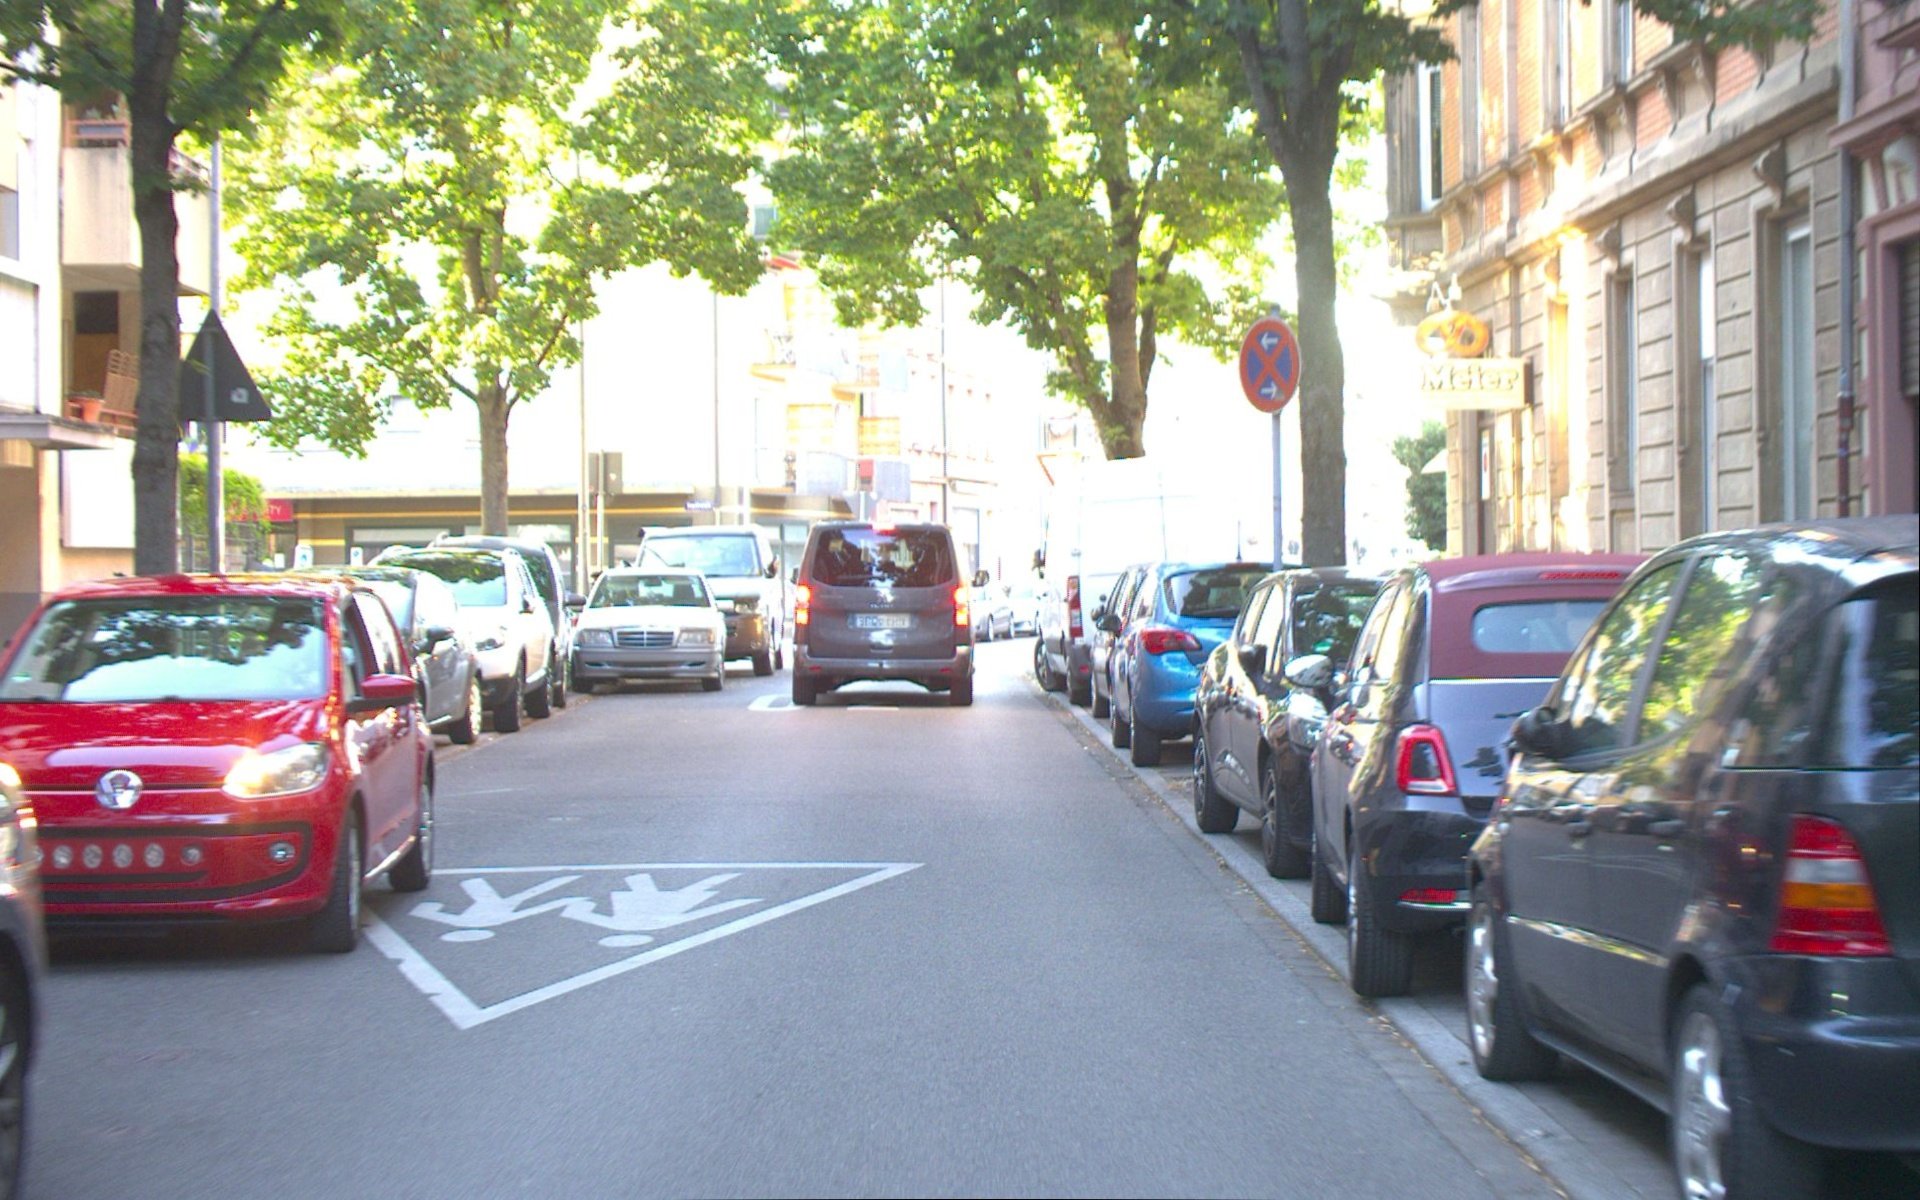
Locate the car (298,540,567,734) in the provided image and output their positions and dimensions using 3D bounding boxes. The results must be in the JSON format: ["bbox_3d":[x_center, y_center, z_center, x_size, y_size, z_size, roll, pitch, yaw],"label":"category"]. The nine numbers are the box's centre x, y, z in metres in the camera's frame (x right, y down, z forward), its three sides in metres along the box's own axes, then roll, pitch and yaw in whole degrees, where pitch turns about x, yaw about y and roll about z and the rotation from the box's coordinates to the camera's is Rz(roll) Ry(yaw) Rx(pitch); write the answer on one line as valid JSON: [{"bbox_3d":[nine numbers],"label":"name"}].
[{"bbox_3d":[-4.836,0.307,32.039,1.897,1.631,4.156,2,0,-1],"label":"car"}]

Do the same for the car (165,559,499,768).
[{"bbox_3d":[-4.879,0.455,27.204,1.740,1.479,3.839,2,0,3],"label":"car"}]

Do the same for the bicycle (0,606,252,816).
[{"bbox_3d":[-5.200,0.647,20.565,0.605,1.191,1.824,3,1,44],"label":"bicycle"}]

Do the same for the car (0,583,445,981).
[{"bbox_3d":[-3.163,0.651,14.223,1.630,1.425,3.543,-1,0,-2],"label":"car"}]

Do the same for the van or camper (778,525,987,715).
[{"bbox_3d":[-0.763,0.183,36.580,2.035,1.891,4.270,0,0,1],"label":"van or camper"}]

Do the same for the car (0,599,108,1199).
[{"bbox_3d":[-2.963,0.729,6.023,1.846,1.446,4.502,1,0,0],"label":"car"}]

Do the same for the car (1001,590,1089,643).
[{"bbox_3d":[2.350,0.441,94.151,1.796,1.415,3.746,0,0,11],"label":"car"}]

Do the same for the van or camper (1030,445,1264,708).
[{"bbox_3d":[1.906,-0.251,36.742,1.993,2.590,5.425,0,0,-2],"label":"van or camper"}]

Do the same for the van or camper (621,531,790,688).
[{"bbox_3d":[-3.330,0.109,45.703,1.862,1.976,4.271,-1,0,1],"label":"van or camper"}]

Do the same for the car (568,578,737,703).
[{"bbox_3d":[-3.590,0.444,40.600,1.741,1.399,3.375,-1,0,-1],"label":"car"}]

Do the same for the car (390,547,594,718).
[{"bbox_3d":[-4.969,0.318,36.864,1.741,1.706,3.375,2,0,-1],"label":"car"}]

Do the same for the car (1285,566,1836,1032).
[{"bbox_3d":[2.115,0.632,12.946,1.551,1.491,3.610,1,0,2],"label":"car"}]

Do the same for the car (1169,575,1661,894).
[{"bbox_3d":[2.132,0.580,17.098,1.715,1.399,3.814,0,0,-4],"label":"car"}]

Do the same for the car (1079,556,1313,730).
[{"bbox_3d":[2.069,0.355,31.020,1.750,1.466,3.776,0,0,-1],"label":"car"}]

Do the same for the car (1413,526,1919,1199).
[{"bbox_3d":[2.291,0.607,8.738,1.611,1.554,3.766,-1,0,-3],"label":"car"}]

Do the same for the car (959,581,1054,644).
[{"bbox_3d":[1.227,0.311,88.527,1.796,1.573,3.746,0,0,11],"label":"car"}]

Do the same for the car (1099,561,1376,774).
[{"bbox_3d":[2.005,0.459,25.764,1.750,1.466,3.776,0,0,0],"label":"car"}]
